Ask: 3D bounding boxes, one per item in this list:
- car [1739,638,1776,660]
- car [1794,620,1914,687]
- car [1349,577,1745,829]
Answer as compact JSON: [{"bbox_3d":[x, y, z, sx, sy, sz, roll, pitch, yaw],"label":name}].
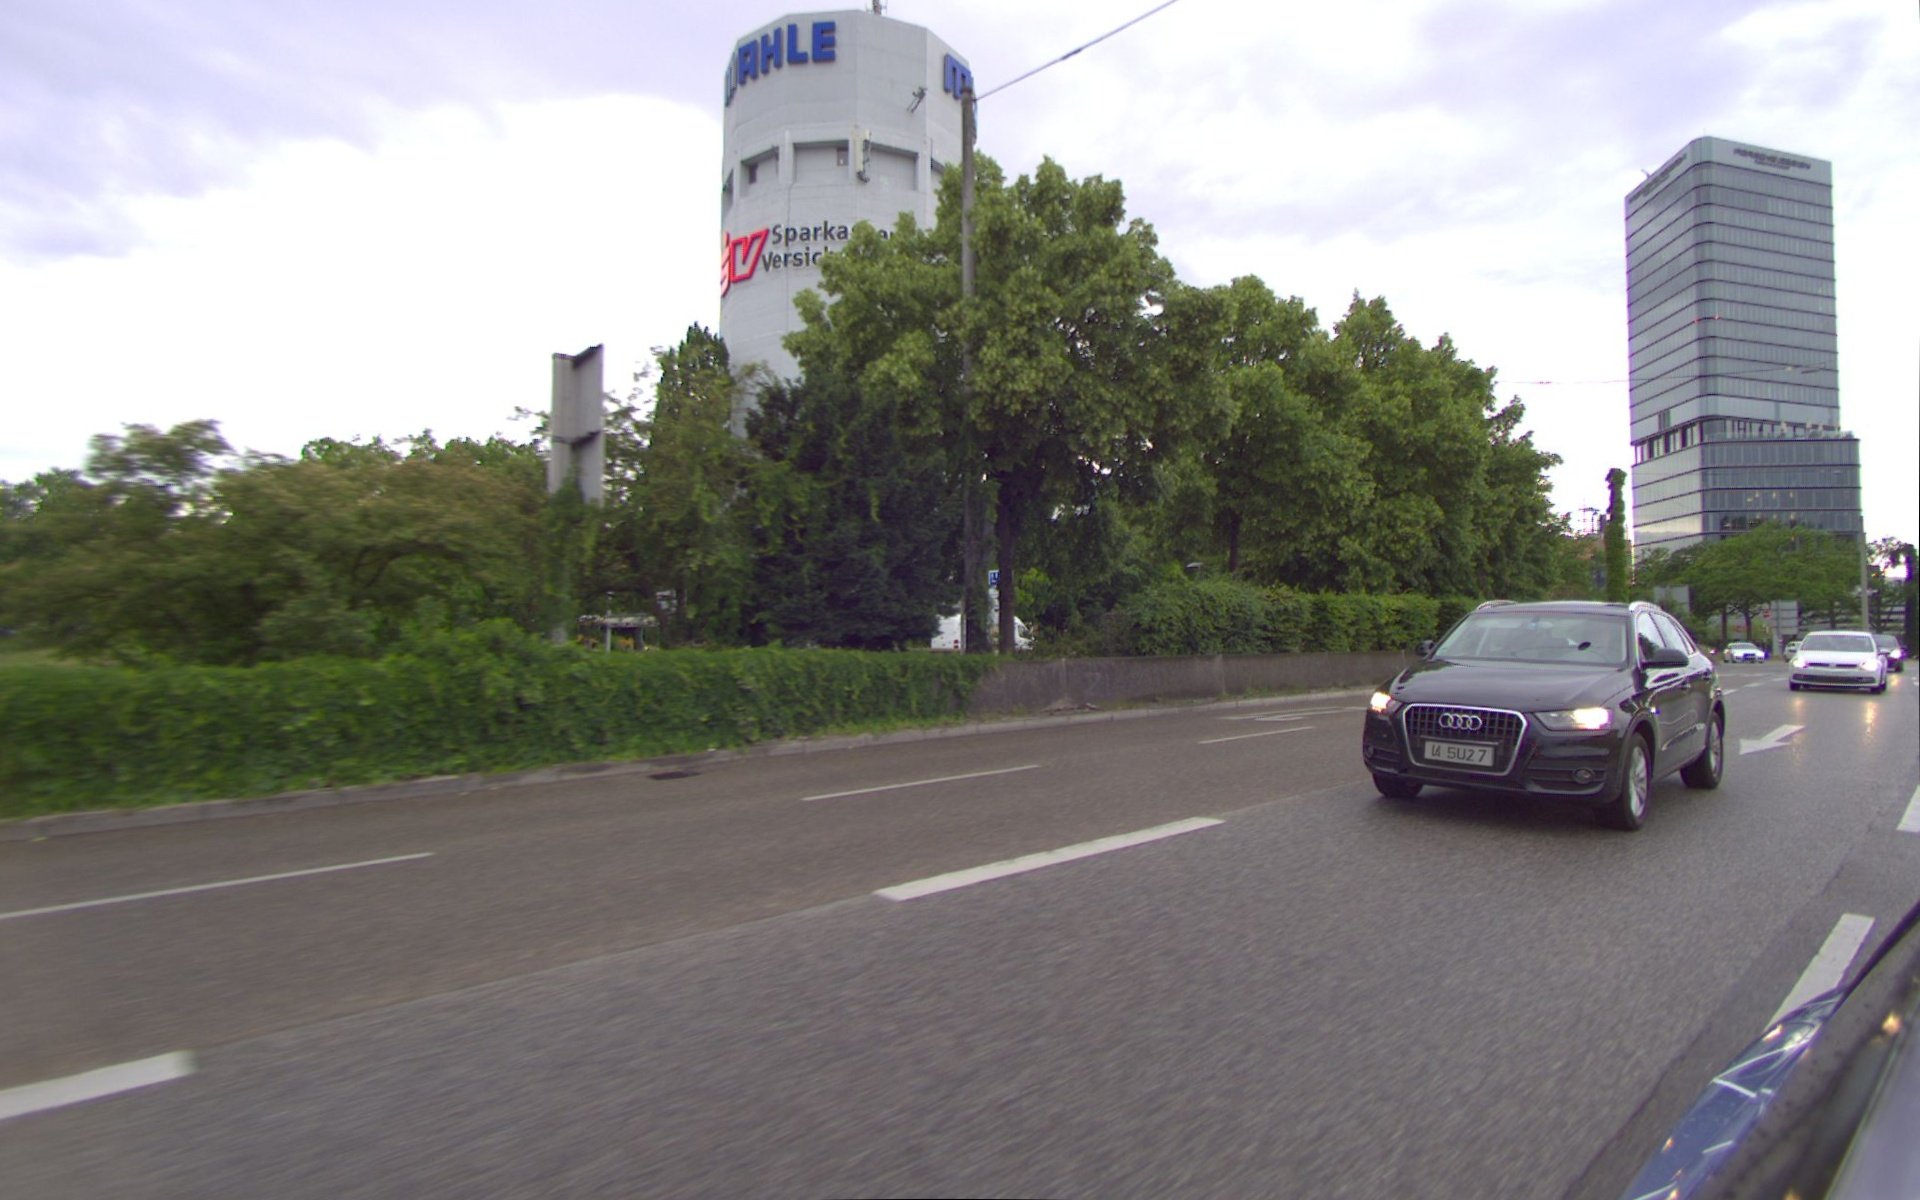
[{"bbox_3d":[55.860,3.388,70.842,1.631,1.495,3.617,-2,-3,44],"label":"car"},{"bbox_3d":[21.603,1.266,24.405,4.191,1.492,1.726,2,-4,-43],"label":"car"},{"bbox_3d":[4.959,0.720,8.307,4.057,1.554,1.726,2,-4,-44],"label":"car"}]
